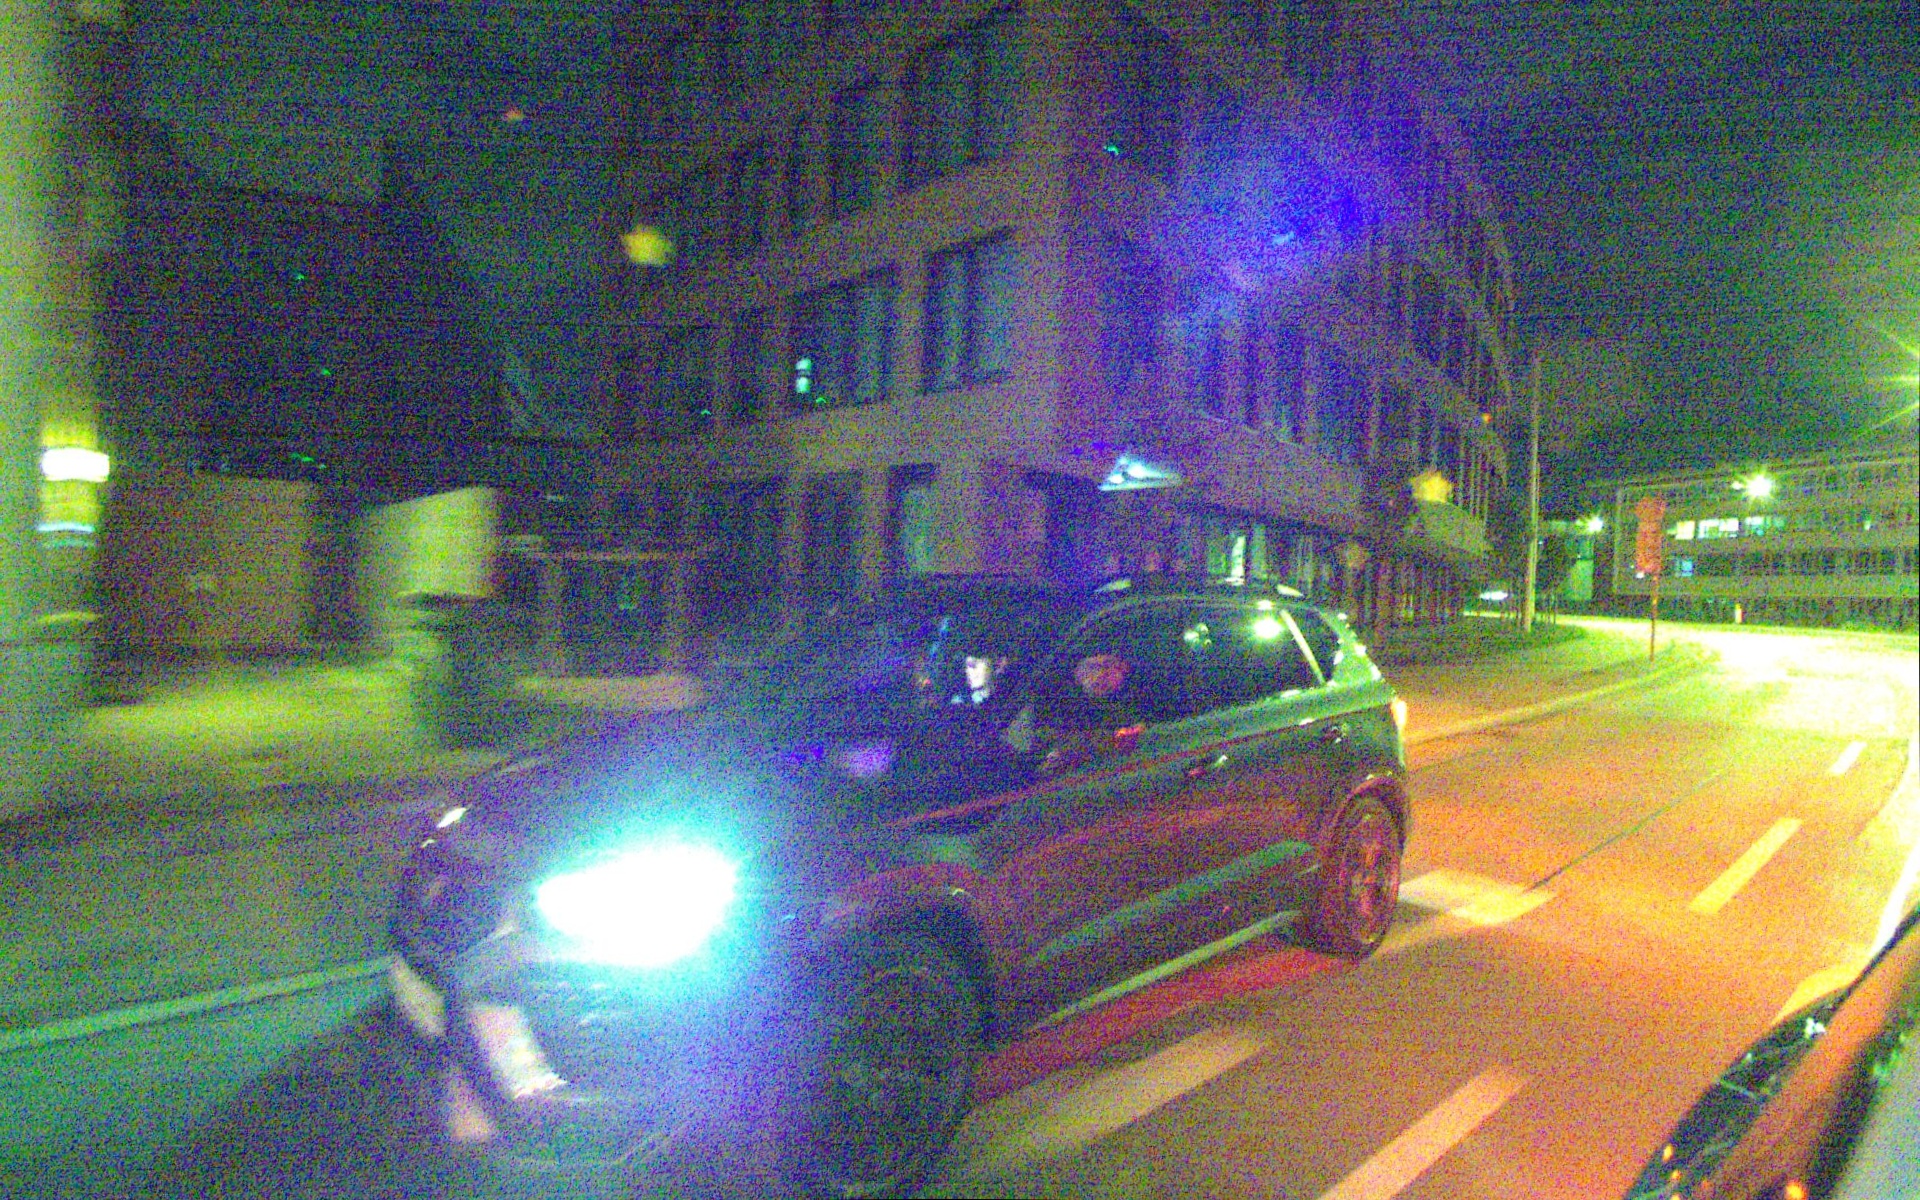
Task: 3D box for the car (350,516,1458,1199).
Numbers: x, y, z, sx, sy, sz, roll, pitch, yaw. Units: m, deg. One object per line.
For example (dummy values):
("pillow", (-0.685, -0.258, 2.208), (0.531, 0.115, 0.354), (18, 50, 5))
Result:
("car", (0.214, 0.637, 3.889), (4.157, 1.630, 1.672), (0, 1, -43))
